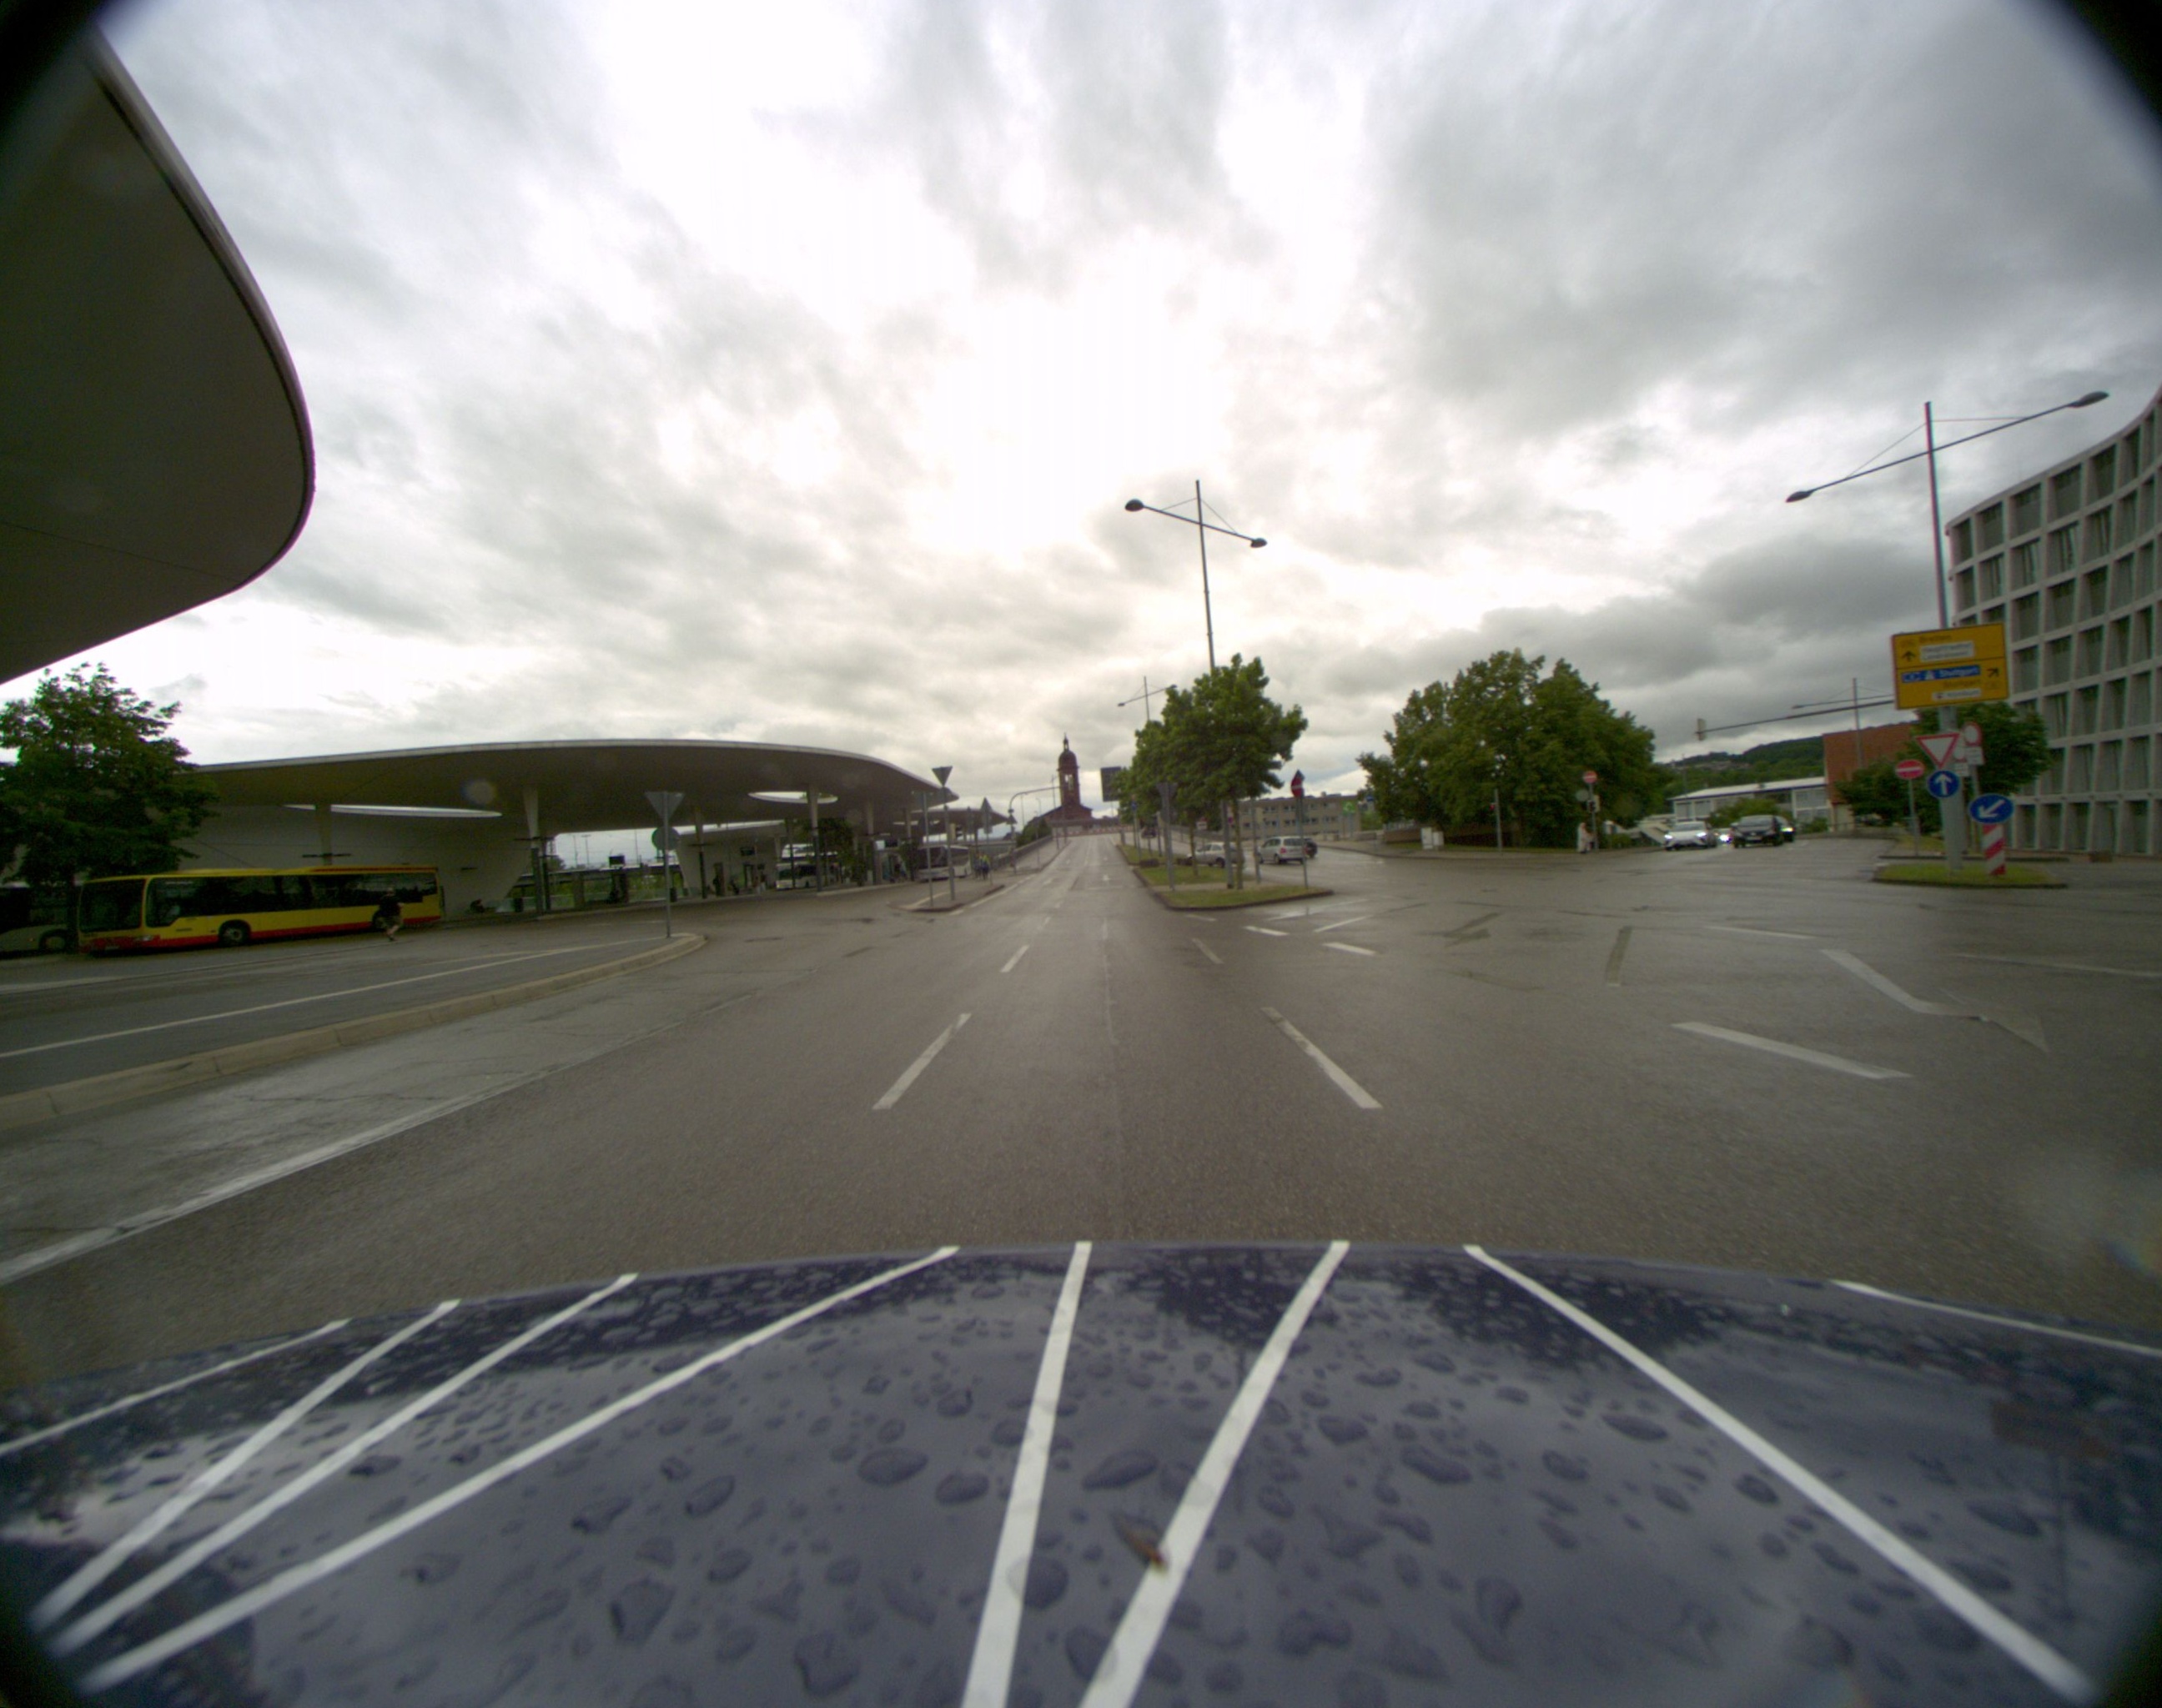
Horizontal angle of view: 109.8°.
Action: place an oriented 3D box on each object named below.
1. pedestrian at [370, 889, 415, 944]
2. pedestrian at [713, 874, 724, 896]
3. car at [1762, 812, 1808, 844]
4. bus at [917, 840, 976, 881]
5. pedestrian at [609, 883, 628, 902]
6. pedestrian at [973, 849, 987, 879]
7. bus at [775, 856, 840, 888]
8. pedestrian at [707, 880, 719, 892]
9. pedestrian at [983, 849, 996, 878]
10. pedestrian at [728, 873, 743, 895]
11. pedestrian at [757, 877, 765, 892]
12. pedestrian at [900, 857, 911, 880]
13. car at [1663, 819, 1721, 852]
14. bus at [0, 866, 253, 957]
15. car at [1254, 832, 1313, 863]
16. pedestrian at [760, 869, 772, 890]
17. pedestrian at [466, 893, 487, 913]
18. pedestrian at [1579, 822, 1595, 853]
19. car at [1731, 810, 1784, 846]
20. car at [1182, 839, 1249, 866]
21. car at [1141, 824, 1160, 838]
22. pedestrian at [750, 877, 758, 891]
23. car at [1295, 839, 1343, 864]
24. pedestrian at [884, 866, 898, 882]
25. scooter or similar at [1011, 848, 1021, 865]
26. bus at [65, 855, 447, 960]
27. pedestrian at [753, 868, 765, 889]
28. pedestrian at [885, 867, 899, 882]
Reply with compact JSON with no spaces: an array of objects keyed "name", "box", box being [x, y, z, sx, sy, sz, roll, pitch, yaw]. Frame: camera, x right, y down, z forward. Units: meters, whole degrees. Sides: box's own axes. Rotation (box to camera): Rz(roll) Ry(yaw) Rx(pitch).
[{"name":"pedestrian","box":[-22.355,2.022,24.687,0.720,1.674,1.019,-2,1,-24]},{"name":"pedestrian","box":[-26.025,2.220,54.512,0.522,1.493,0.381,-4,1,-38]},{"name":"car","box":[38.682,-1.454,41.719,1.723,1.559,3.845,-3,1,44]},{"name":"bus","box":[-12.260,0.538,70.640,2.852,3.342,12.426,-2,0,1]},{"name":"pedestrian","box":[-35.156,2.937,57.724,0.710,1.318,0.801,-7,4,9]},{"name":"pedestrian","box":[-6.005,0.577,45.195,0.590,1.662,0.580,-6,5,1]},{"name":"bus","box":[-32.010,2.017,89.653,2.795,3.238,12.140,-4,1,2]},{"name":"pedestrian","box":[-45.013,3.880,92.954,0.800,1.318,0.711,-7,4,7]},{"name":"pedestrian","box":[-5.457,0.539,45.177,0.523,1.661,0.580,-5,4,1]},{"name":"pedestrian","box":[-25.758,2.226,56.579,0.590,1.581,0.677,-7,4,-2]},{"name":"pedestrian","box":[-24.913,2.354,59.125,0.395,1.138,0.364,-2,1,43]},{"name":"pedestrian","box":[-14.321,1.163,61.920,0.585,1.875,0.649,-2,-1,12]},{"name":"car","box":[32.803,-1.002,40.739,4.148,1.559,1.883,-4,1,-44]},{"name":"bus","box":[-43.707,2.381,33.891,2.521,3.380,9.856,-3,0,0]},{"name":"car","box":[12.026,-0.368,45.487,1.853,1.643,4.416,-4,1,-6]},{"name":"pedestrian","box":[-25.513,2.062,61.493,0.644,1.645,0.638,-4,1,-38]},{"name":"pedestrian","box":[-46.161,3.753,58.017,0.711,1.318,0.801,-7,4,5]},{"name":"pedestrian","box":[26.173,-0.859,39.311,0.652,1.562,0.632,-1,3,26]},{"name":"car","box":[33.547,-1.302,37.632,1.723,1.559,3.845,-3,1,44]},{"name":"car","box":[7.855,-0.092,44.571,1.639,1.440,3.866,-3,2,-32]},{"name":"car","box":[9.449,-3.221,104.243,1.913,1.653,4.854,-4,3,-2]},{"name":"pedestrian","box":[-25.372,2.323,58.957,0.391,1.074,0.352,-2,1,43]},{"name":"car","box":[16.261,-0.181,52.192,1.851,1.495,4.920,-4,1,3]},{"name":"pedestrian","box":[-15.482,1.658,61.927,0.954,1.247,0.648,-1,-1,-22]},{"name":"scooter or similar","box":[-4.874,0.184,57.000,0.465,1.214,1.859,-4,1,1]},{"name":"bus","box":[-33.665,1.858,32.419,2.795,3.239,12.138,-4,1,0]},{"name":"pedestrian","box":[-25.609,1.973,60.415,0.570,1.645,0.557,-3,1,8]},{"name":"pedestrian","box":[-15.220,1.655,61.245,0.954,1.247,0.648,-1,-1,-22]}]
